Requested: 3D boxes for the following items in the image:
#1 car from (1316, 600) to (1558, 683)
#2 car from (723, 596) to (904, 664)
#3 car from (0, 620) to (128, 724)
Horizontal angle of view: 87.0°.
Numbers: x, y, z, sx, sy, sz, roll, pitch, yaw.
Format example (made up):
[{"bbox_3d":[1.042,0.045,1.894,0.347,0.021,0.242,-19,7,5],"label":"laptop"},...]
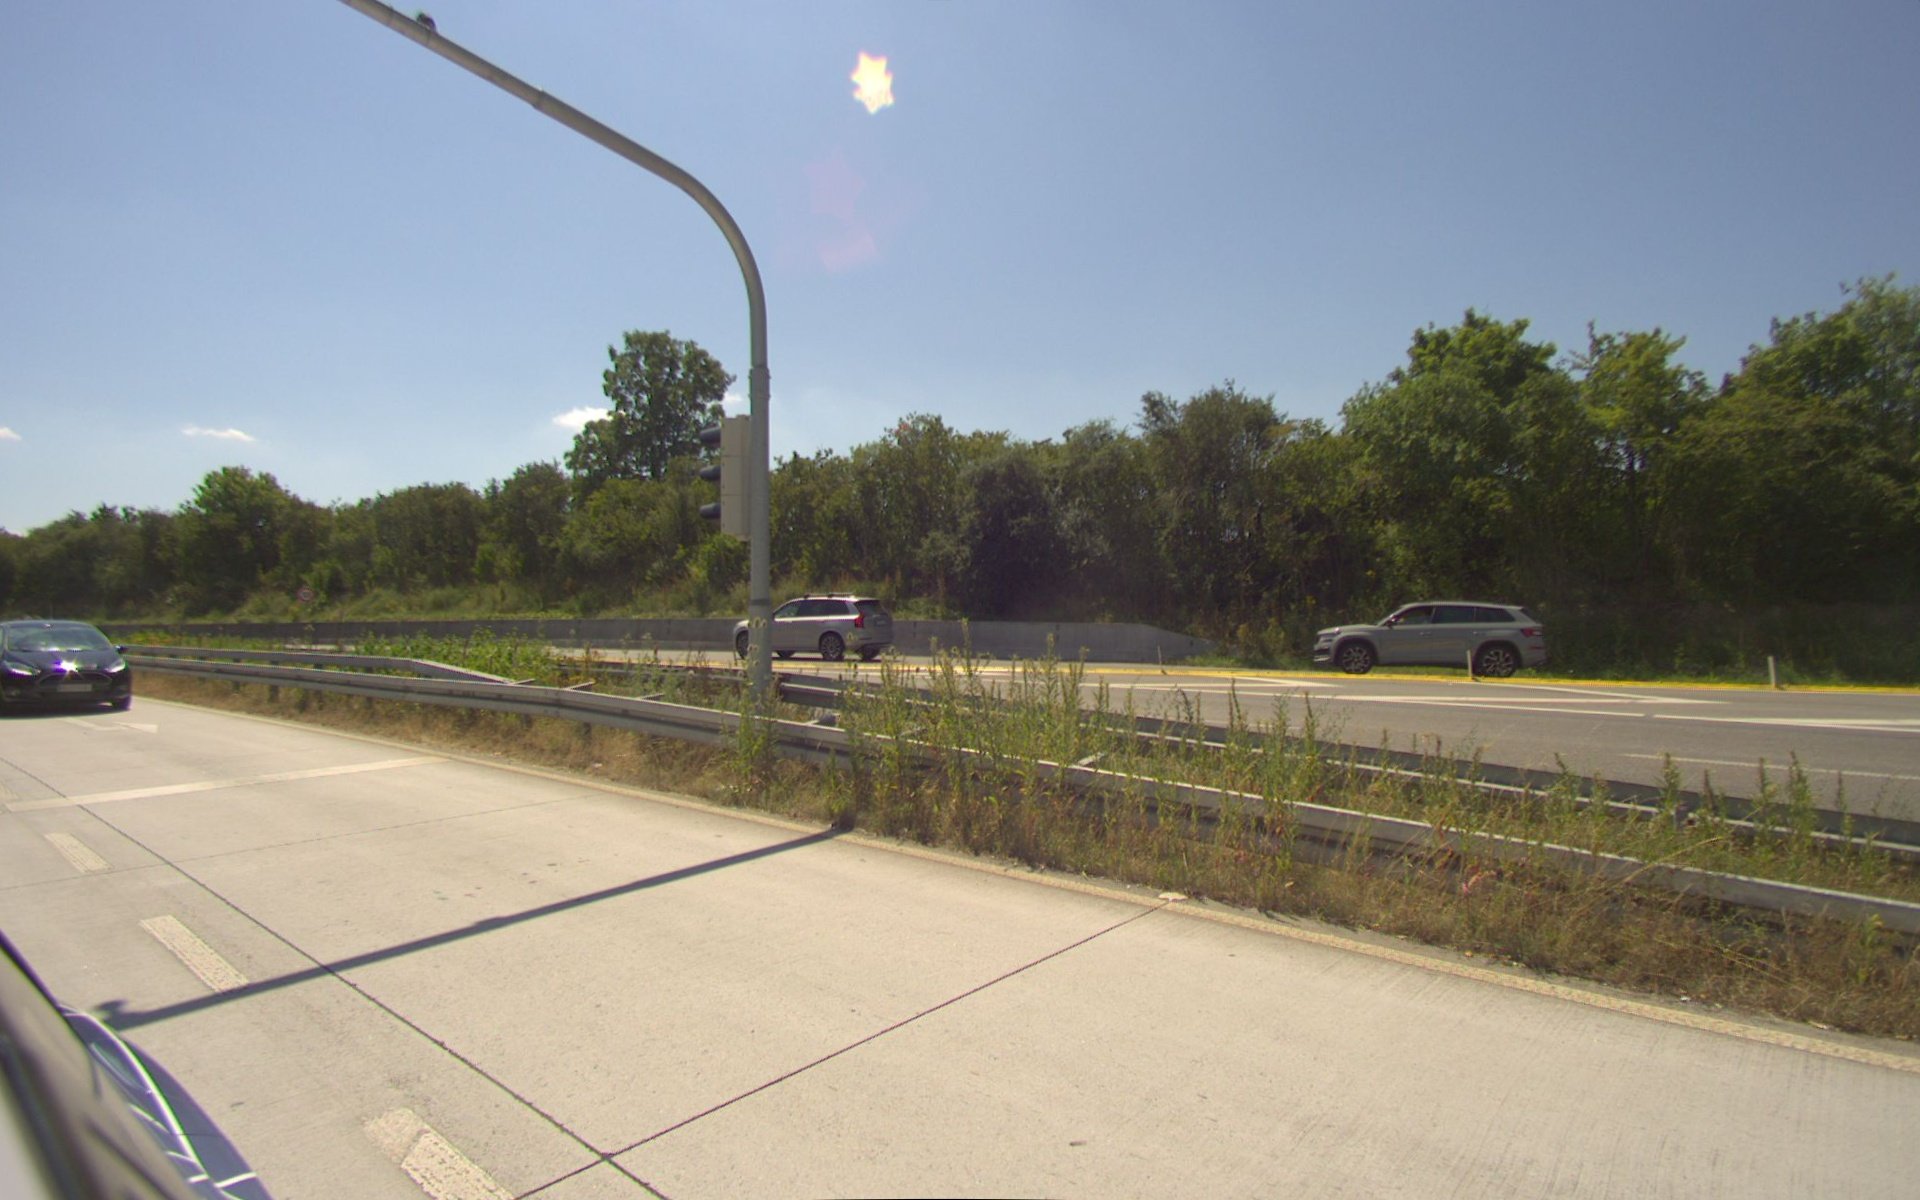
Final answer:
[{"bbox_3d":[10.347,0.875,22.394,4.621,1.705,1.987,-1,-1,20],"label":"car"},{"bbox_3d":[-4.157,0.817,28.516,4.835,1.786,1.981,-1,-1,28],"label":"car"},{"bbox_3d":[-15.296,1.097,16.841,3.998,1.496,1.606,-1,0,41],"label":"car"}]
